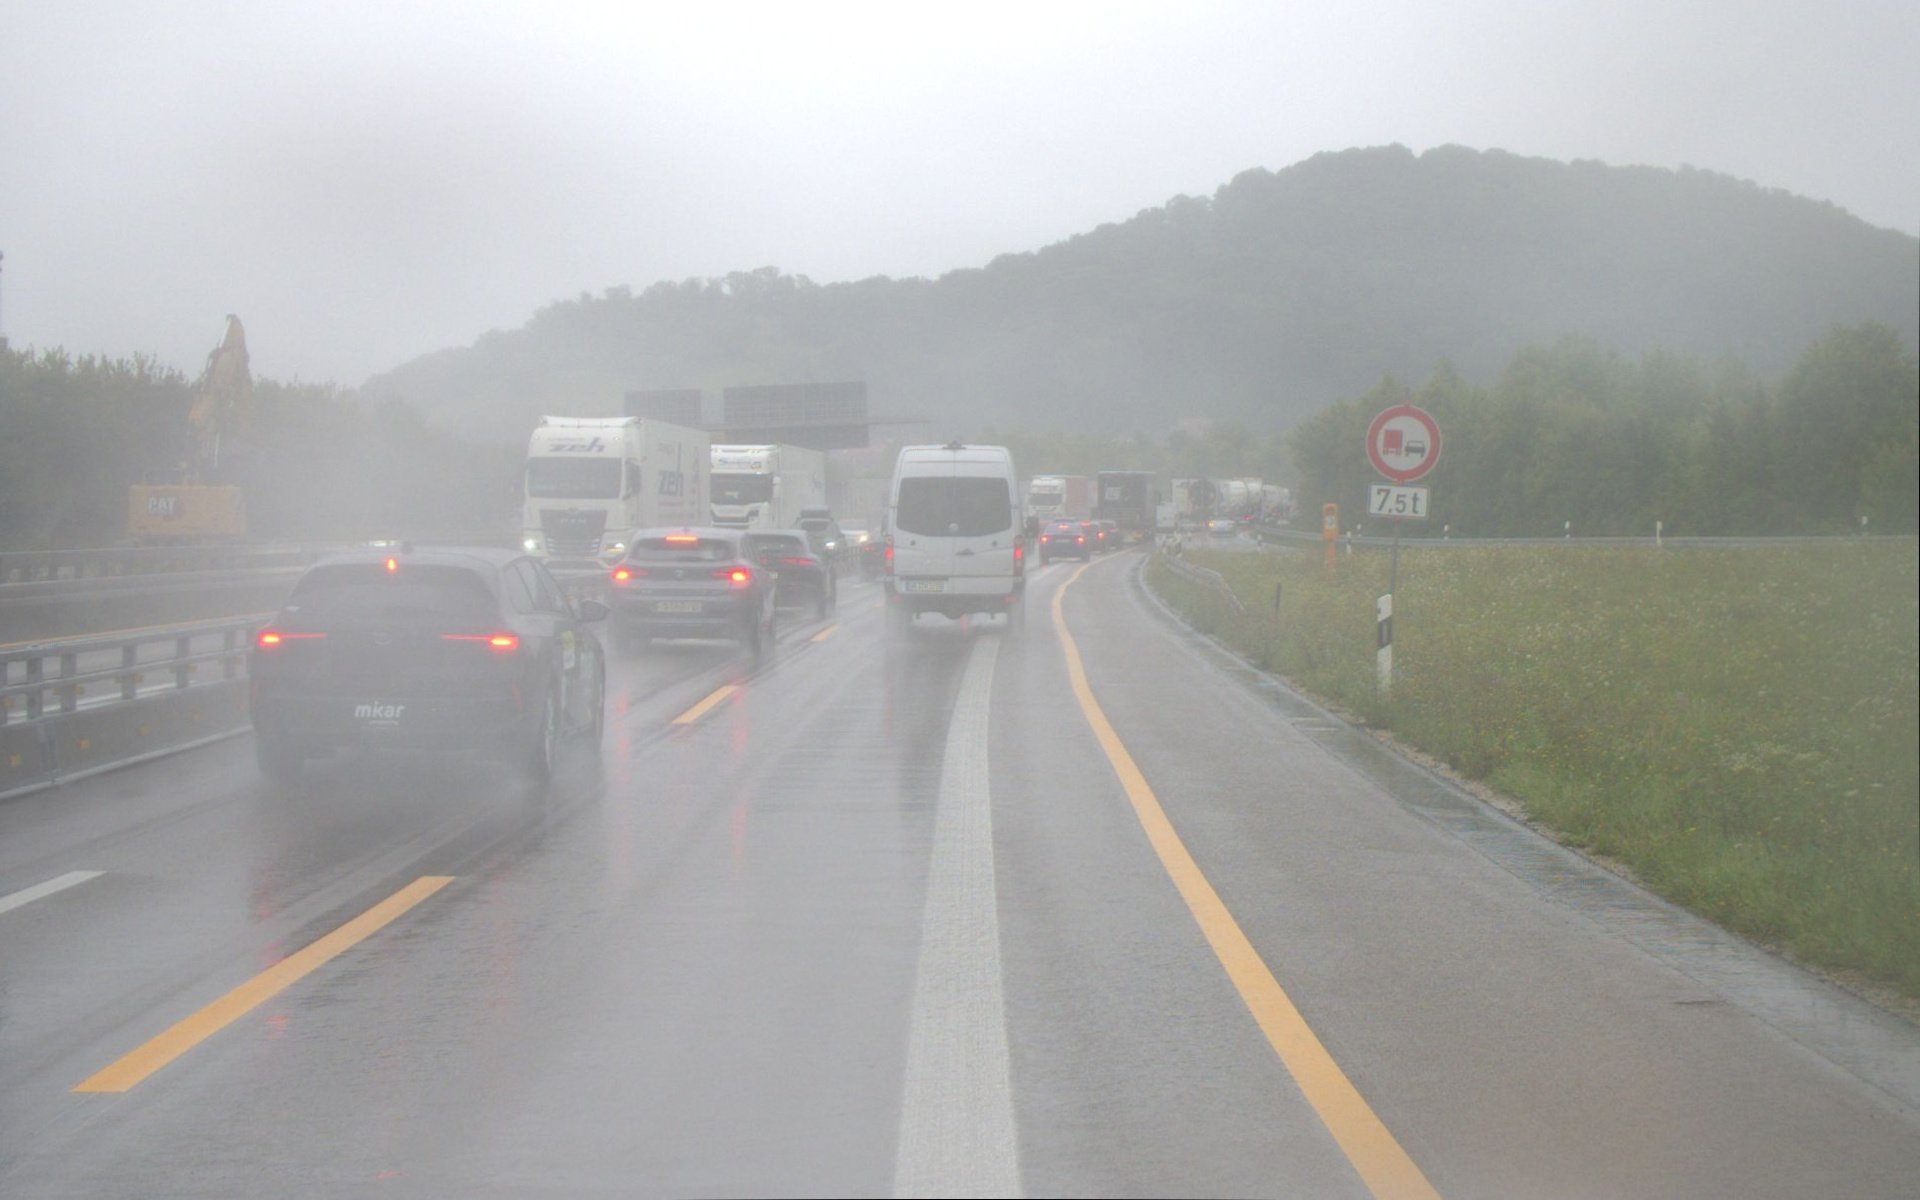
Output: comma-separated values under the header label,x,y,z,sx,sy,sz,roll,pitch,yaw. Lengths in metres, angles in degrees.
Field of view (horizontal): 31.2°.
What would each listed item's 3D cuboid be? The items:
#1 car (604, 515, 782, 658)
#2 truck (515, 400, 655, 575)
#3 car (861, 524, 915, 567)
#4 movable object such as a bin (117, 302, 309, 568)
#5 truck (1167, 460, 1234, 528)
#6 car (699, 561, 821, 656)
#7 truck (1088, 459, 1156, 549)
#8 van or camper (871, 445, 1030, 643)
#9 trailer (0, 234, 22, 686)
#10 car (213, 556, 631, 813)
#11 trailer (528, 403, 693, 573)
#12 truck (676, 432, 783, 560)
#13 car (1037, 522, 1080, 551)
label,x,y,z,sx,sy,sz,roll,pitch,yaw
car,-3.196,-0.201,41.838,1.867,1.653,3.988,0,1,0
truck,-8.982,-2.721,82.930,2.483,4.017,6.448,1,2,2
car,-1.836,-1.405,87.988,1.262,1.074,3.254,0,1,1
movable object such as a bin,-23.812,-5.145,110.074,3.597,8.115,8.307,1,1,4
truck,17.571,-7.704,250.362,3.930,4.768,9.904,1,2,9
car,-3.325,0.117,57.774,1.852,1.495,4.000,0,1,-1
truck,9.007,-5.243,190.220,3.321,4.768,9.905,1,1,4
van or camper,-0.191,-0.817,49.479,2.139,2.712,4.649,0,1,-2
trailer,-9.987,-1.169,25.423,2.600,4.063,12.433,0,1,0
car,-3.345,0.462,22.281,1.939,1.422,4.760,1,1,0
trailer,-8.811,-2.883,88.239,2.494,4.035,12.587,0,2,2
truck,-7.549,-3.427,113.431,2.883,4.087,6.926,0,2,1
car,3.653,-2.357,127.547,1.384,1.074,3.123,0,1,-2
